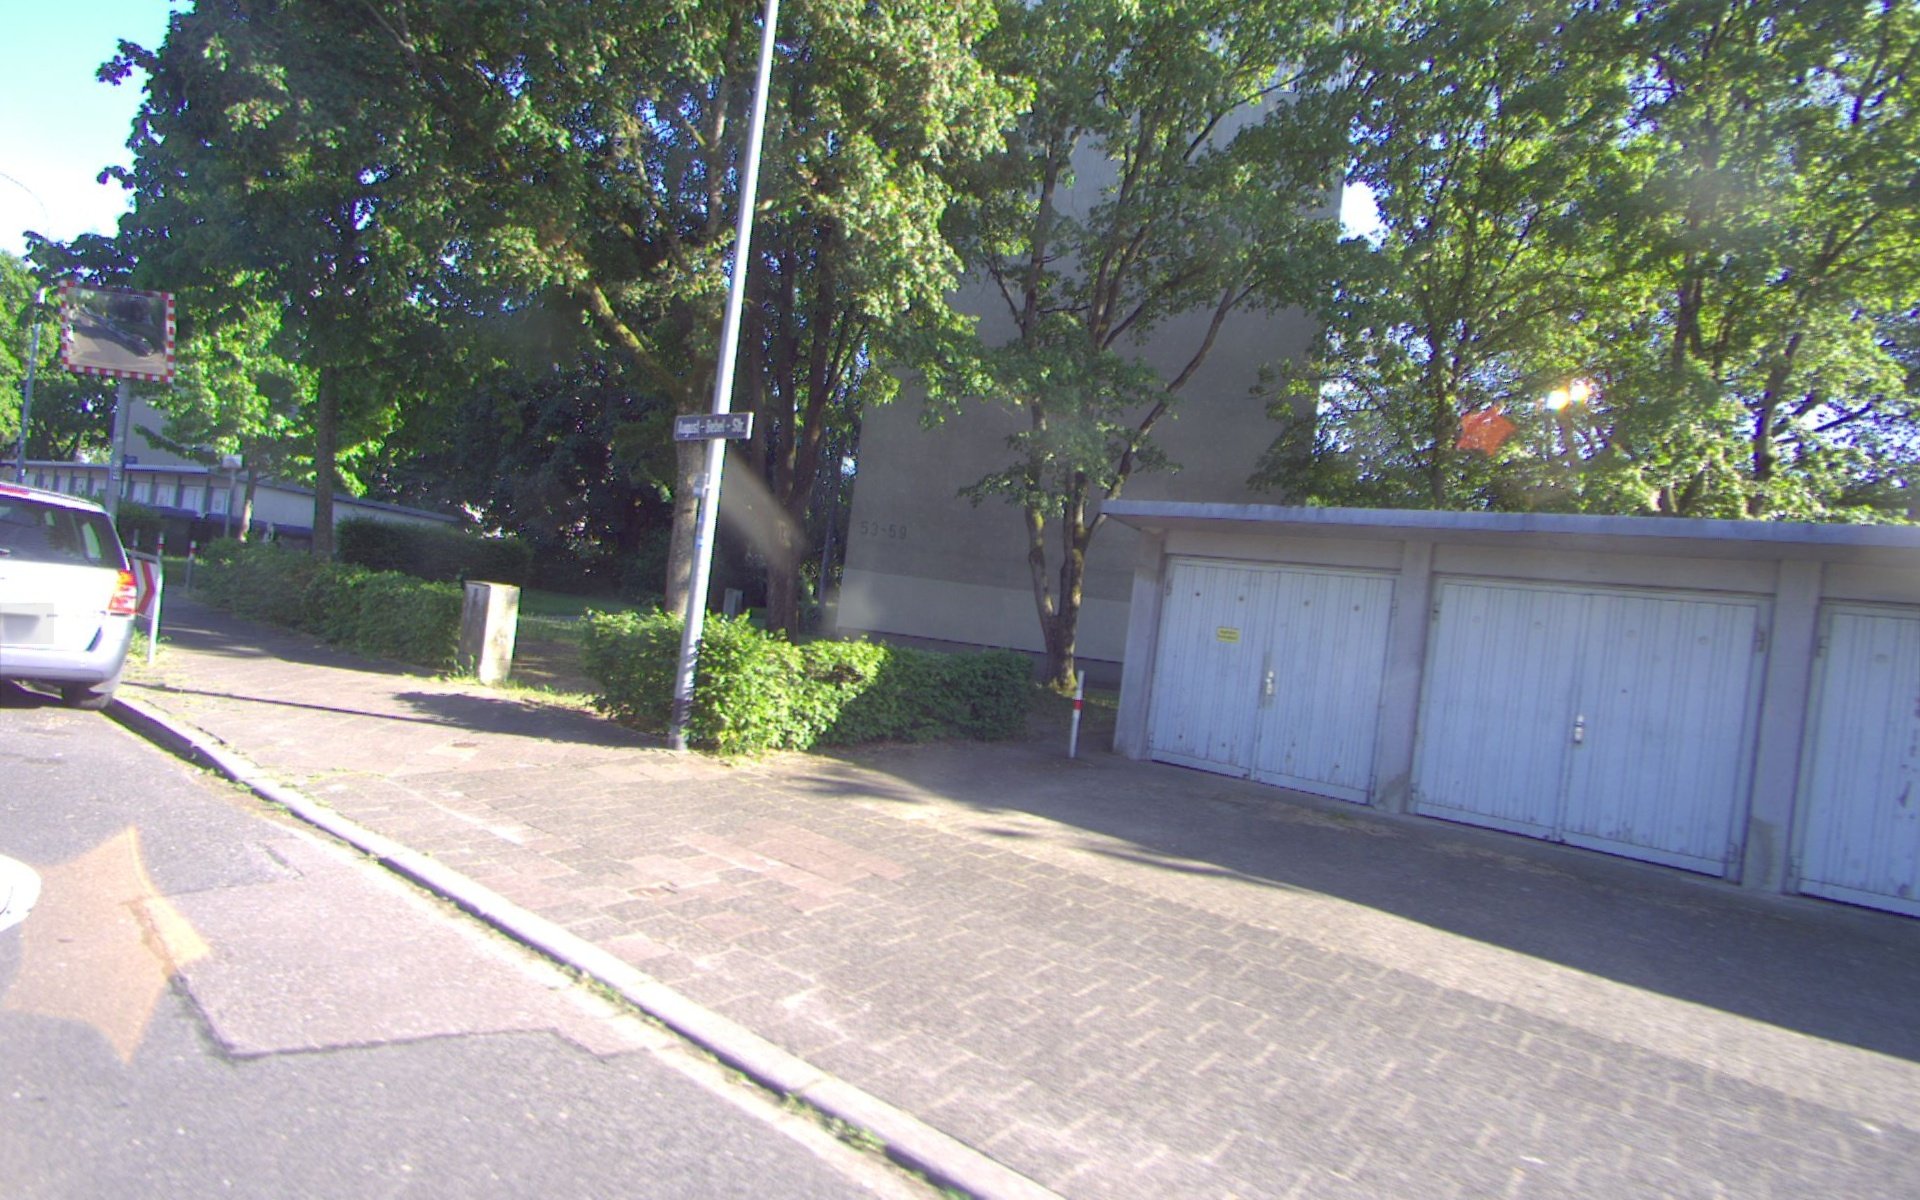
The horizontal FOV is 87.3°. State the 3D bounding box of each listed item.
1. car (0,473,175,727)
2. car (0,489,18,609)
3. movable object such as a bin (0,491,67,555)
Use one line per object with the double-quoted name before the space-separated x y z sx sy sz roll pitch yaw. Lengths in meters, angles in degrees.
"car" -8.003 -0.178 7.761 4.304 1.628 1.771 6 -3 35
"car" -11.795 -0.590 10.668 3.961 1.611 1.806 6 -3 36
"movable object such as a bin" -23.080 -1.899 24.977 1.246 1.363 1.041 7 -1 -42
